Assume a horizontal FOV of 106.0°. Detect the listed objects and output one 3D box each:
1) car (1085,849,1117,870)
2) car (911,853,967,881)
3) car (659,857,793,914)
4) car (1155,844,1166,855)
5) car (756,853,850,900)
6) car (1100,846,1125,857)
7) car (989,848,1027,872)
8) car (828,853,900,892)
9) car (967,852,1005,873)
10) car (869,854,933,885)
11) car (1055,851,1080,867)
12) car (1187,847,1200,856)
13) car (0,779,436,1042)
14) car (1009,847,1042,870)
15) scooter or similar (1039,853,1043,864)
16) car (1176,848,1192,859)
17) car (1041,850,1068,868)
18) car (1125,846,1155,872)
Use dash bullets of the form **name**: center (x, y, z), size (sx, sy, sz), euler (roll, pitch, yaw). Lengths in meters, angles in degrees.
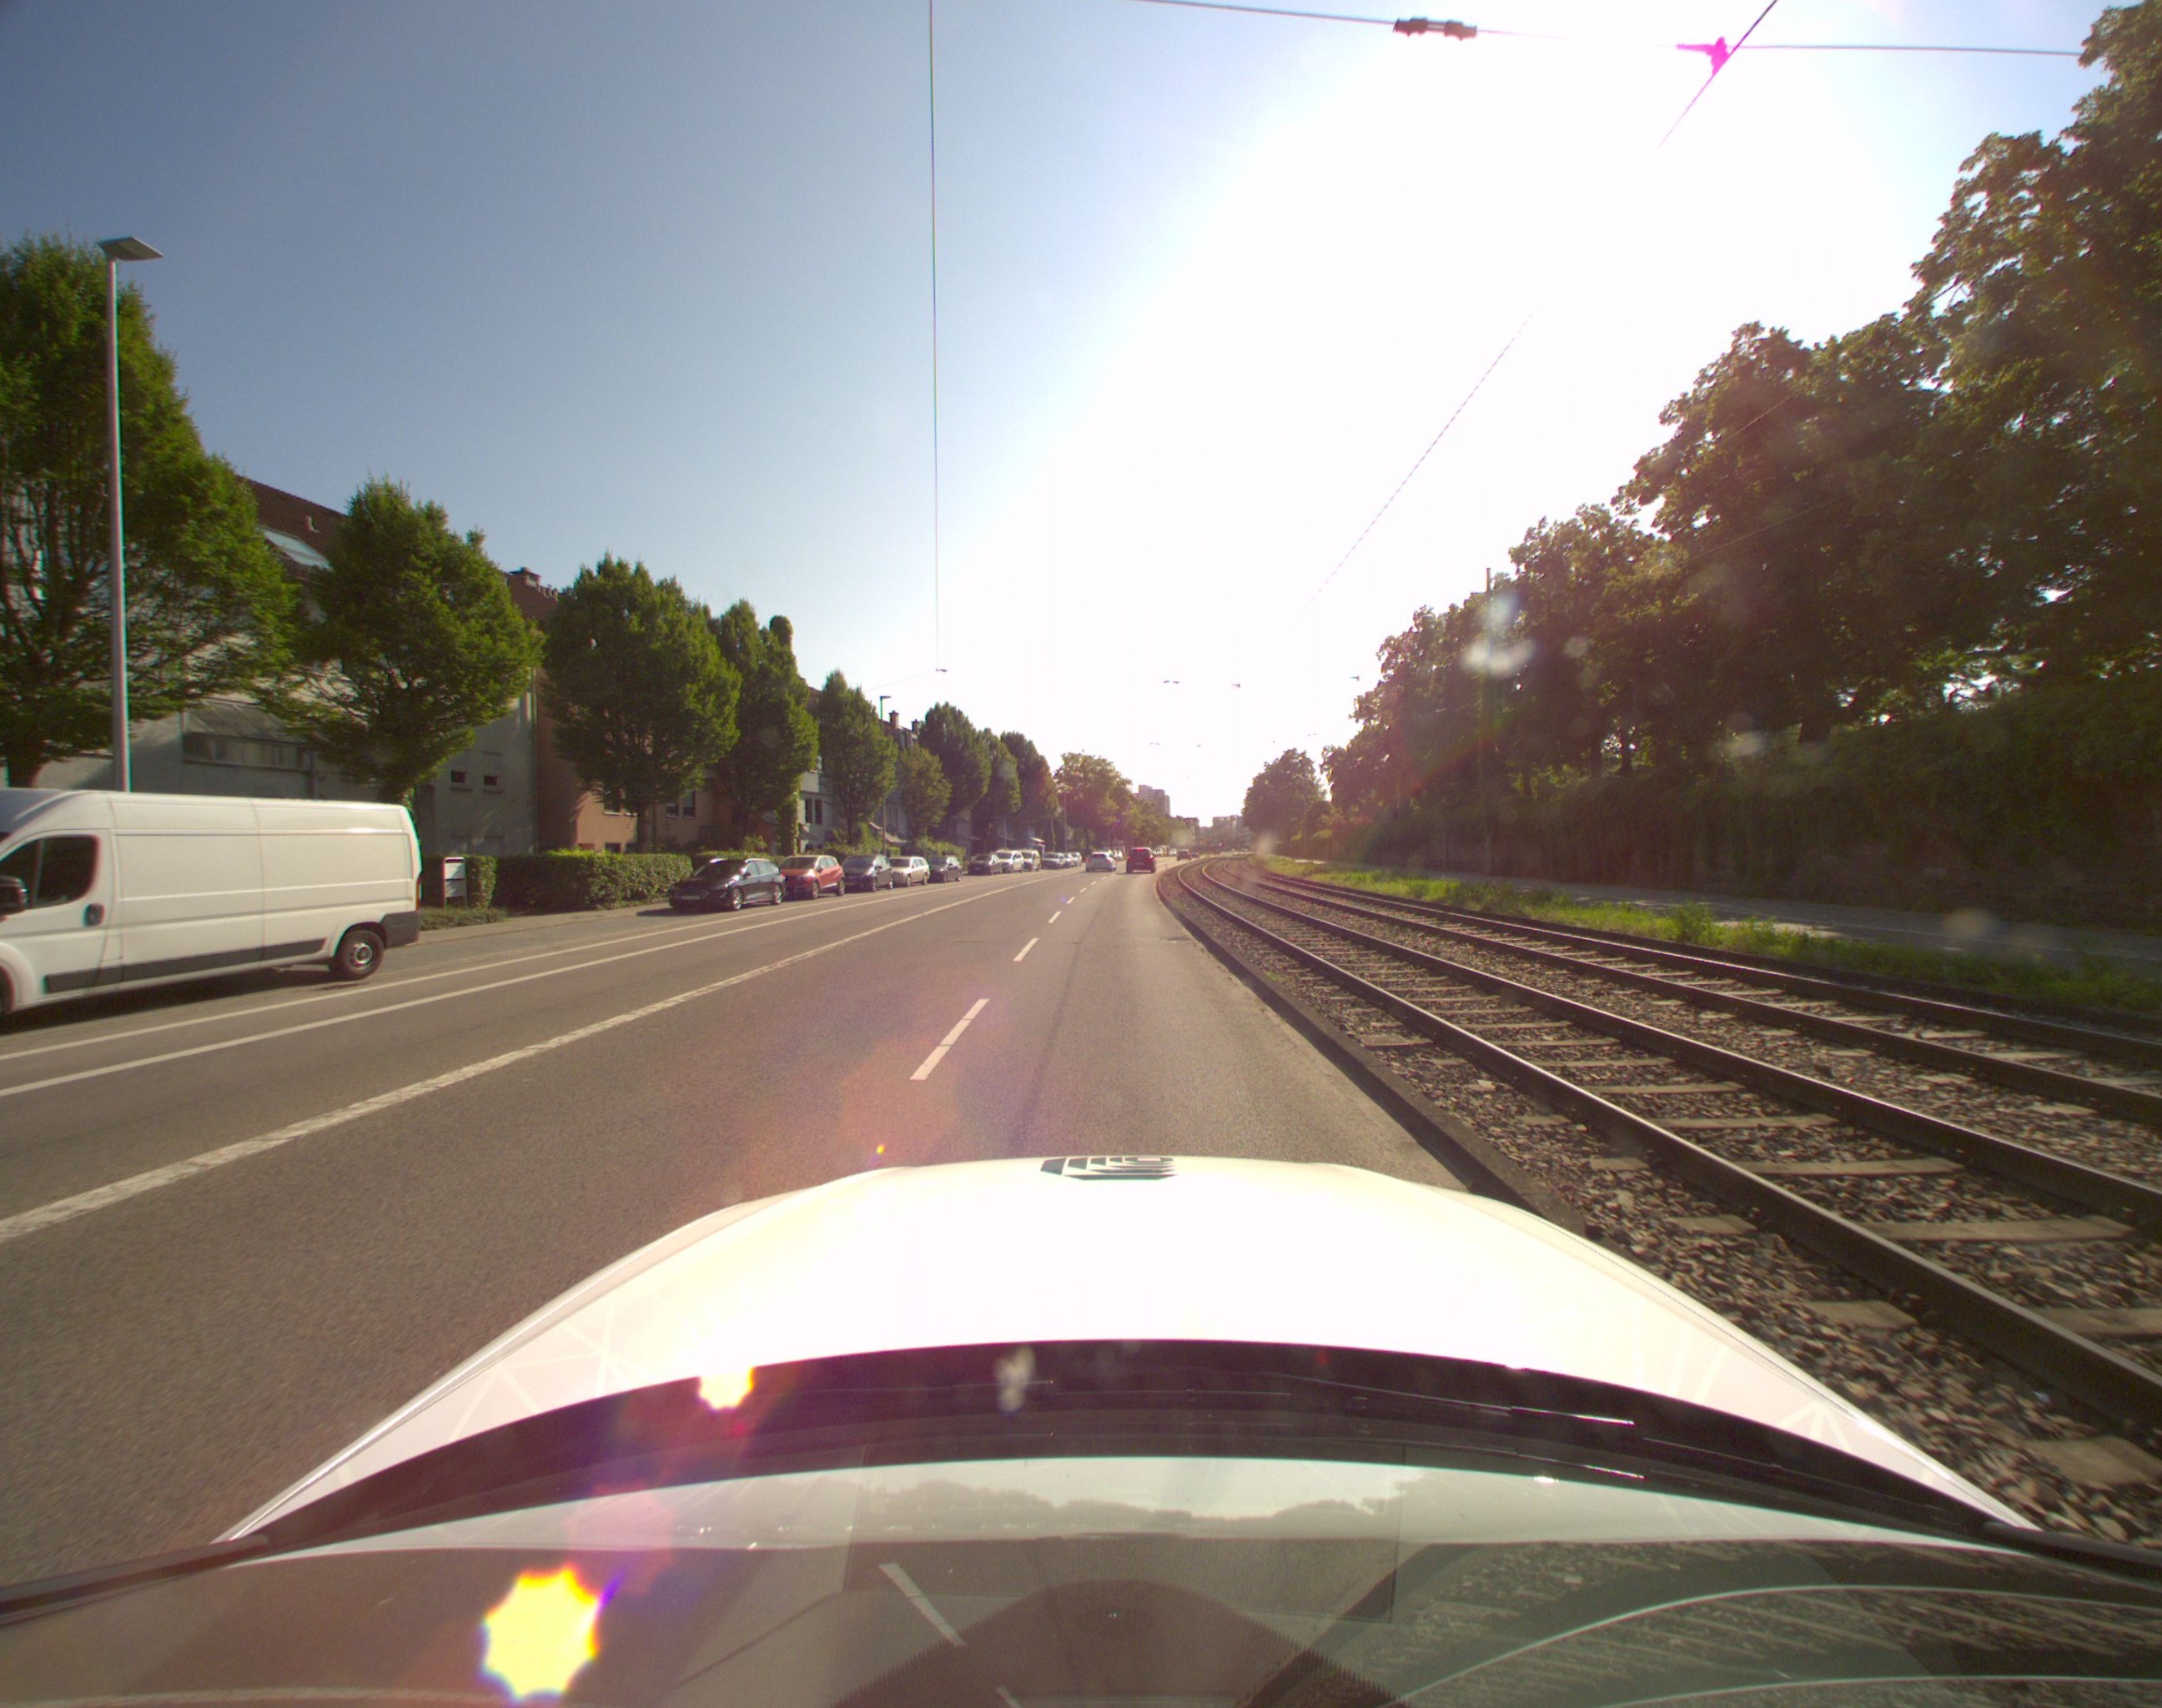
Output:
- **car**: center (1.442, 0.356, 56.796), size (1.855, 1.348, 4.008), euler (-1, 0, 7)
- **car**: center (-8.079, 0.707, 46.789), size (1.700, 1.472, 4.921), euler (1, 1, 8)
- **car**: center (-10.357, 0.860, 24.199), size (1.645, 1.424, 4.718), euler (-1, 0, 4)
- **car**: center (18.393, -1.040, 187.993), size (1.851, 2.347, 5.002), euler (-1, 0, 12)
- **car**: center (-10.018, 0.757, 29.686), size (1.754, 1.574, 4.166), euler (-1, 0, 4)
- **car**: center (7.108, -0.567, 183.161), size (5.341, 2.423, 2.094), euler (-1, 0, 11)
- **car**: center (-5.647, 0.433, 63.384), size (1.658, 1.701, 4.839), euler (1, 0, 11)
- **car**: center (-9.378, 0.745, 35.547), size (1.755, 1.574, 4.303), euler (1, 0, 3)
- **car**: center (-6.738, 0.585, 58.089), size (1.606, 1.465, 4.068), euler (1, 0, 9)
- **car**: center (-8.956, 0.750, 40.955), size (1.704, 1.471, 4.852), euler (1, 0, 5)
- **car**: center (-1.394, 0.532, 84.313), size (1.739, 1.510, 4.767), euler (3, 1, 8)
- **car**: center (18.331, -0.372, 132.285), size (1.799, 1.449, 4.014), euler (0, 1, 13)
- **car**: center (-11.138, 0.490, 9.503), size (2.144, 2.457, 6.185), euler (1, 1, 1)
- **car**: center (-4.681, 0.349, 69.553), size (1.752, 1.845, 4.592), euler (4, 1, 9)
- **scooter or similar**: center (-4.249, 0.446, 86.765), size (0.292, 1.153, 1.045), euler (-1, 0, 7)
- **car**: center (13.780, -0.089, 108.869), size (1.799, 1.449, 4.014), euler (0, 1, 13)
- **car**: center (-2.563, 0.466, 79.449), size (1.752, 1.539, 3.993), euler (4, 1, 11)
- **car**: center (3.922, 0.303, 53.302), size (1.802, 1.644, 4.007), euler (0, 0, 6)
